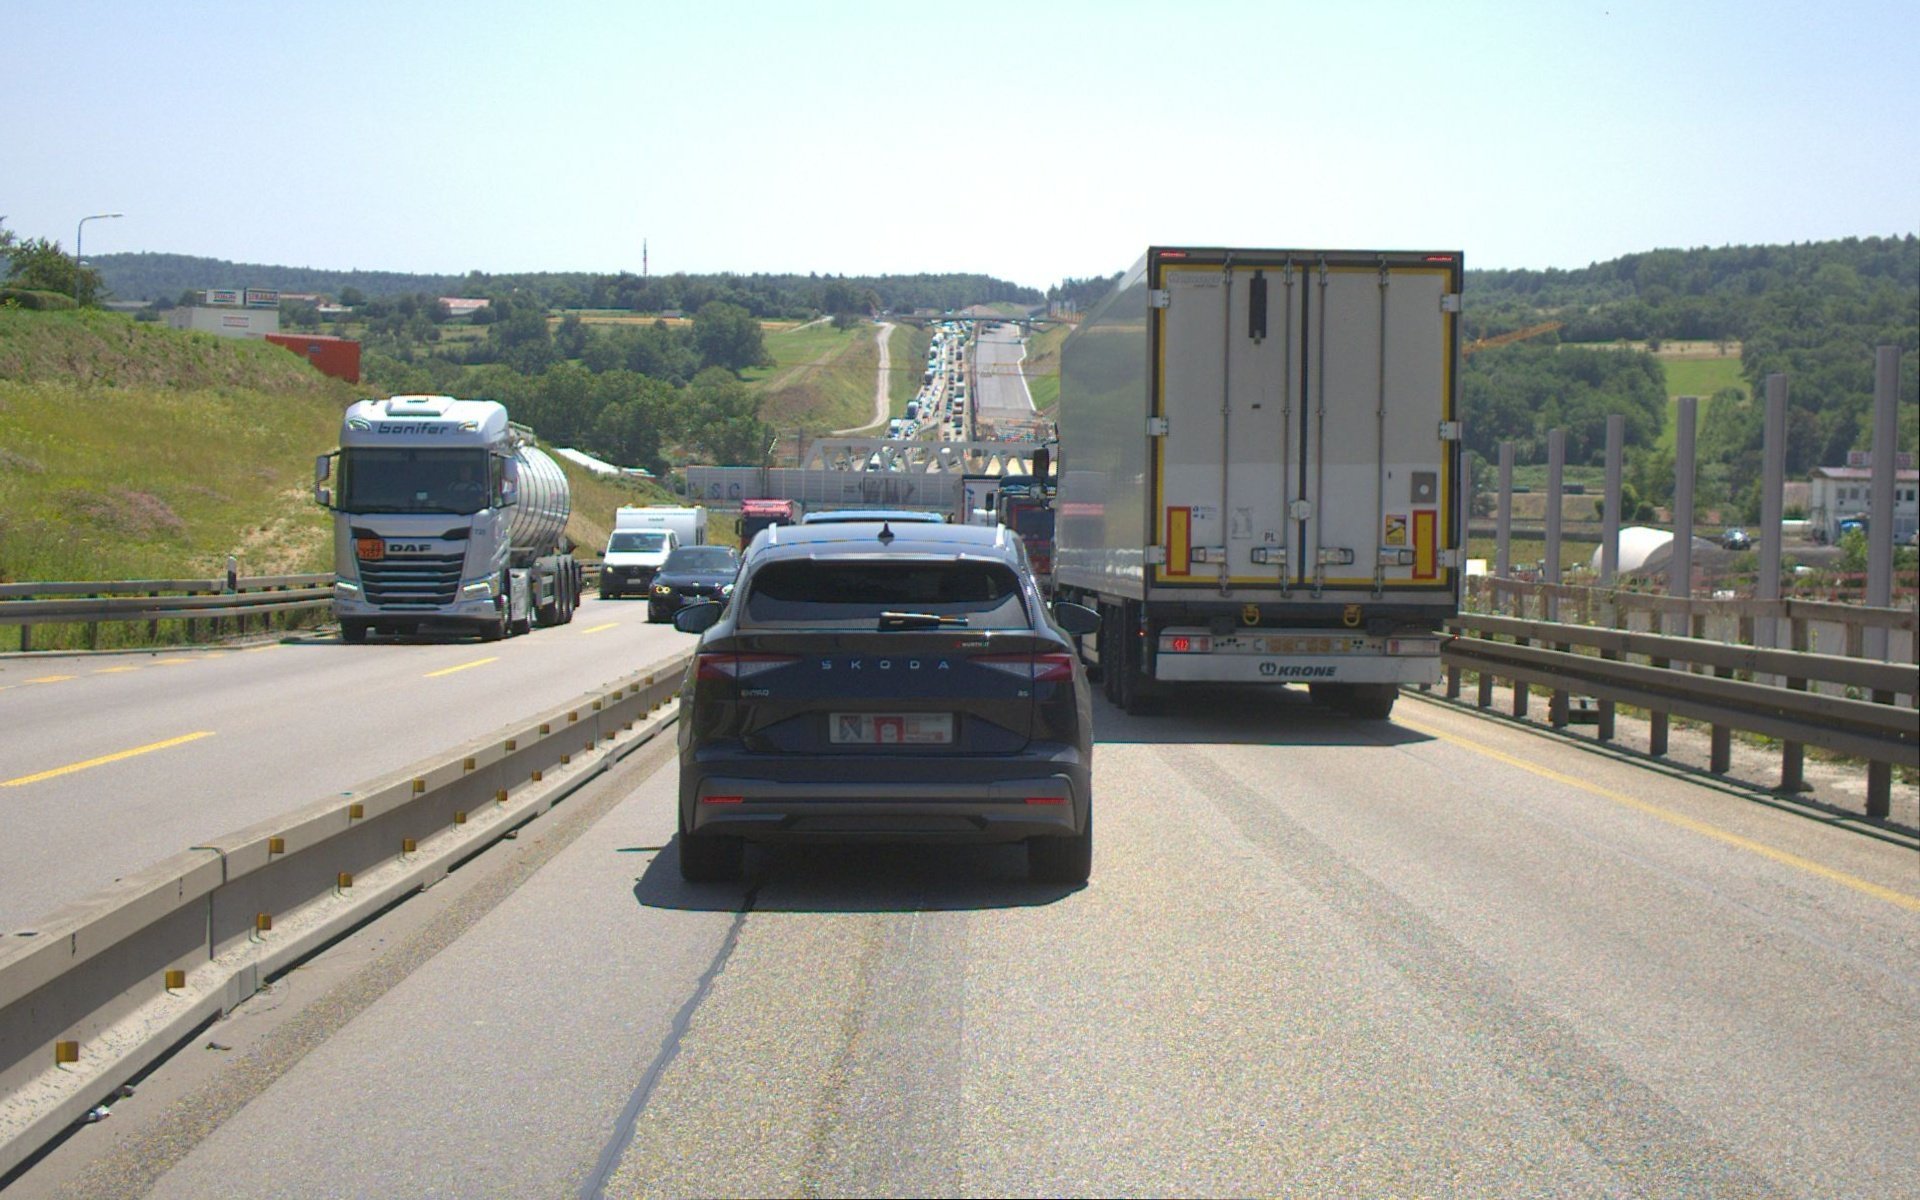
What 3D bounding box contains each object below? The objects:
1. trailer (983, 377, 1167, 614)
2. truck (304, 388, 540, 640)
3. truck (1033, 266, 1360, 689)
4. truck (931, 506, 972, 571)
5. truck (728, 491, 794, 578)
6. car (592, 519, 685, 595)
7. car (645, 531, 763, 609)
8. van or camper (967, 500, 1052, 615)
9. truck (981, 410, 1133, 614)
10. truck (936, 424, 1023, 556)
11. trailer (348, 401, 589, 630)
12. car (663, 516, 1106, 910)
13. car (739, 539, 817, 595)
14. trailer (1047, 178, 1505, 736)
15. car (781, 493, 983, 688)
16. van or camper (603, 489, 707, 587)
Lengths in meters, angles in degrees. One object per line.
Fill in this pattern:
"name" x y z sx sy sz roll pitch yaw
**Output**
"trailer" 2.263 -1.974 73.319 3.180 4.498 14.967 1 0 -1
"truck" -8.295 -1.320 53.683 2.779 3.660 6.278 1 1 -1
"truck" 2.627 -1.403 41.030 3.180 4.497 8.166 1 1 -1
"truck" -0.610 -4.108 231.696 2.640 4.179 9.284 1 0 -1
"truck" -10.033 -3.248 174.728 2.852 4.125 11.918 1 0 -1
"car" -8.550 -1.159 91.824 1.993 1.964 5.343 1 1 0
"car" -4.830 -0.596 65.341 1.895 1.409 4.679 0 1 0
"van or camper" 1.494 -1.205 101.666 2.389 3.269 6.468 1 0 1
"truck" 2.185 -1.937 80.469 3.180 4.498 8.165 1 0 -1
"truck" 0.651 -3.974 127.747 2.852 4.450 11.918 1 0 -1
"trailer" -8.401 -1.438 60.165 2.716 3.581 11.796 1 1 -1
"car" -0.312 0.454 16.168 1.802 1.602 4.000 1 0 0
"car" -4.919 -0.915 93.472 1.912 1.475 4.637 1 1 -1
"trailer" 2.738 -1.306 34.558 3.180 4.497 13.109 1 1 -1
"car" -0.820 -0.085 36.658 1.993 1.919 4.508 1 0 -1
"van or camper" -8.684 -1.772 98.425 2.357 2.667 7.858 0 1 -1
